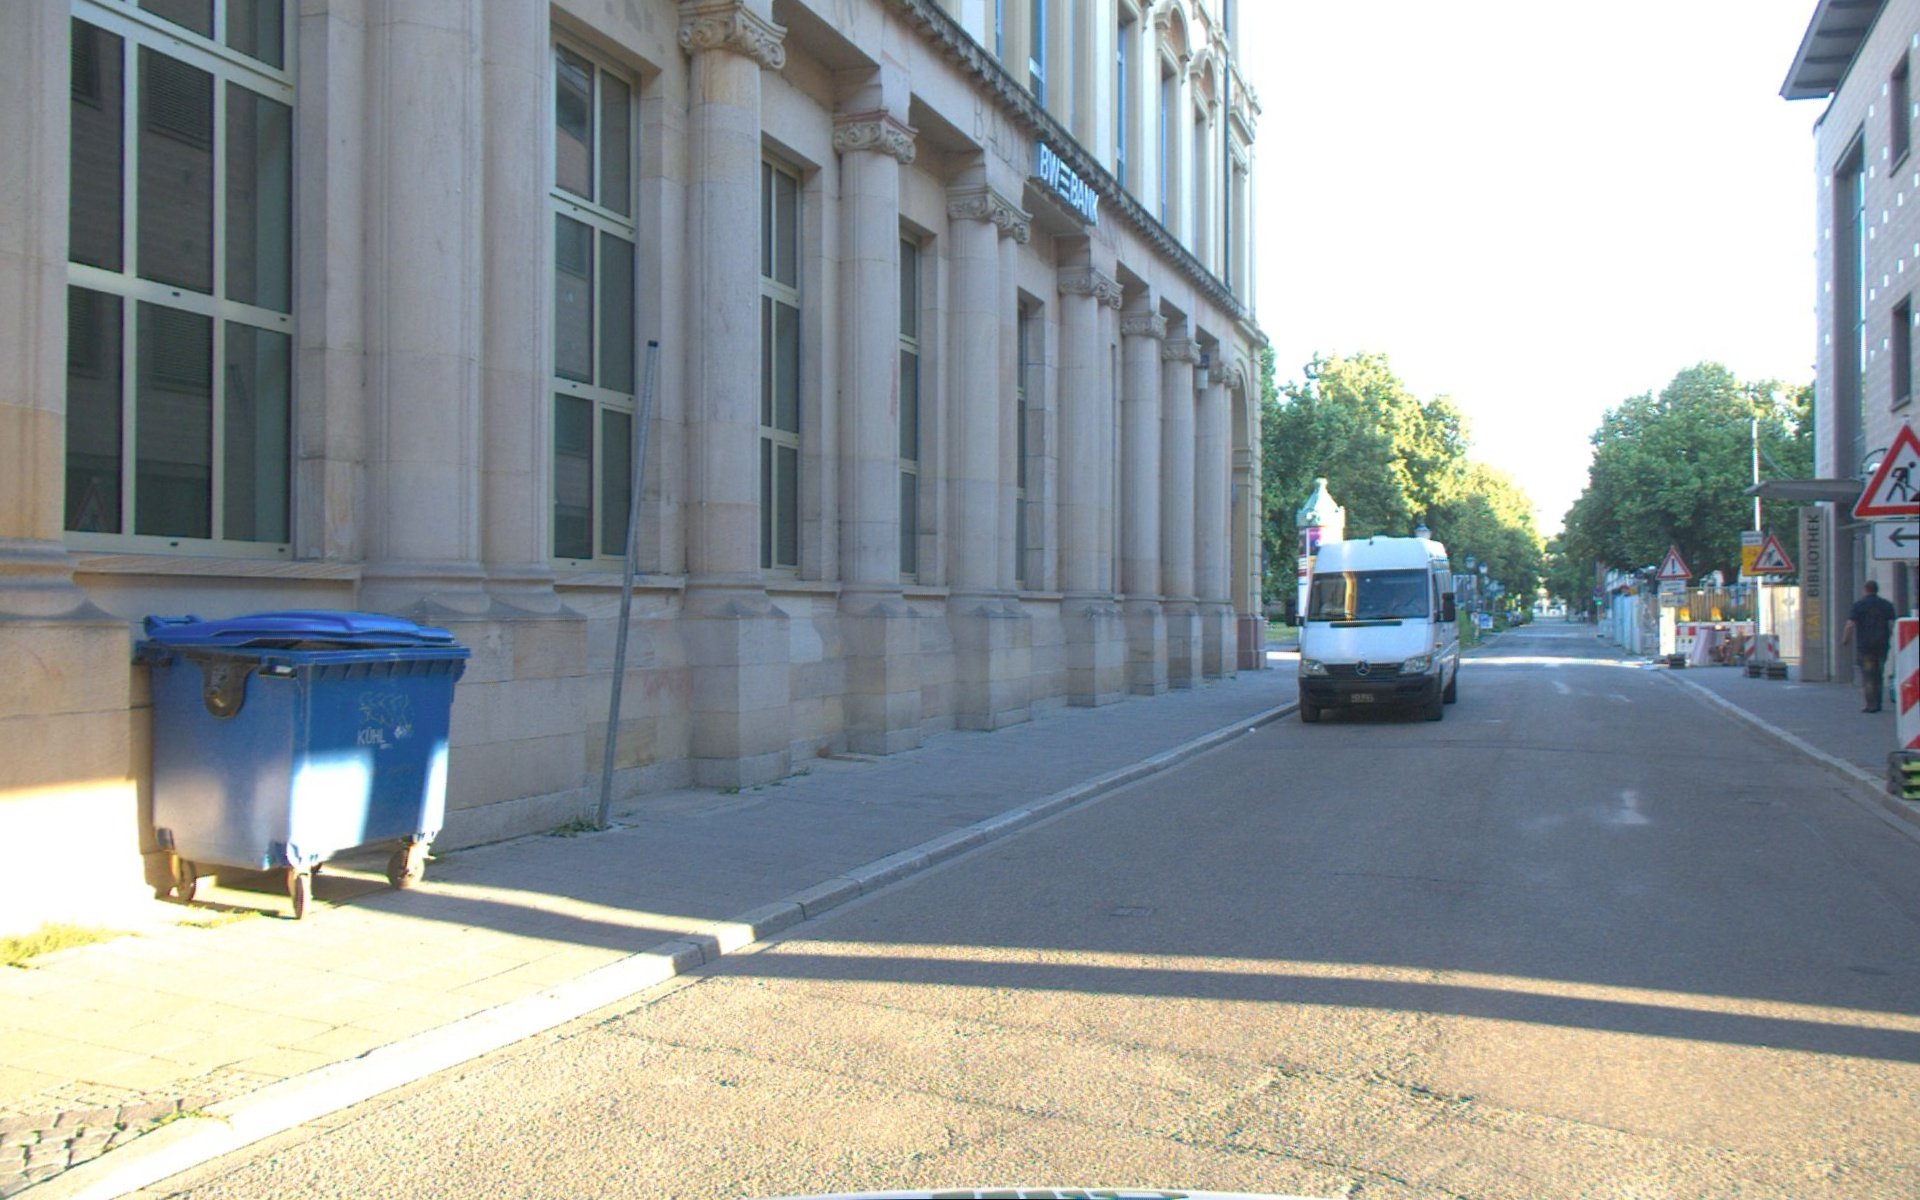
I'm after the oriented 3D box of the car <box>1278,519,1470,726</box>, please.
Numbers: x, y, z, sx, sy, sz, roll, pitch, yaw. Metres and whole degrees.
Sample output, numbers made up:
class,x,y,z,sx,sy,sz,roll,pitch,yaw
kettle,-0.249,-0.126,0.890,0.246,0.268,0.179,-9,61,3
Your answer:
class,x,y,z,sx,sy,sz,roll,pitch,yaw
car,6.259,0.307,24.402,1.954,2.556,6.471,-4,-1,20

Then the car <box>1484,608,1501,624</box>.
class,x,y,z,sx,sy,sz,roll,pitch,yaw
car,49.049,1.479,152.251,1.437,1.429,3.680,0,0,19

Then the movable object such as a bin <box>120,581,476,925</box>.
class,x,y,z,sx,sy,sz,roll,pitch,yaw
movable object such as a bin,-3.187,0.676,8.052,1.052,1.500,1.187,1,0,23

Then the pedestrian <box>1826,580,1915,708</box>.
class,x,y,z,sx,sy,sz,roll,pitch,yaw
pedestrian,12.614,0.608,22.942,0.903,1.732,0.869,-1,-1,19

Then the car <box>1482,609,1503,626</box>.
class,x,y,z,sx,sy,sz,roll,pitch,yaw
car,41.292,1.356,128.278,1.437,1.278,3.680,0,0,19
